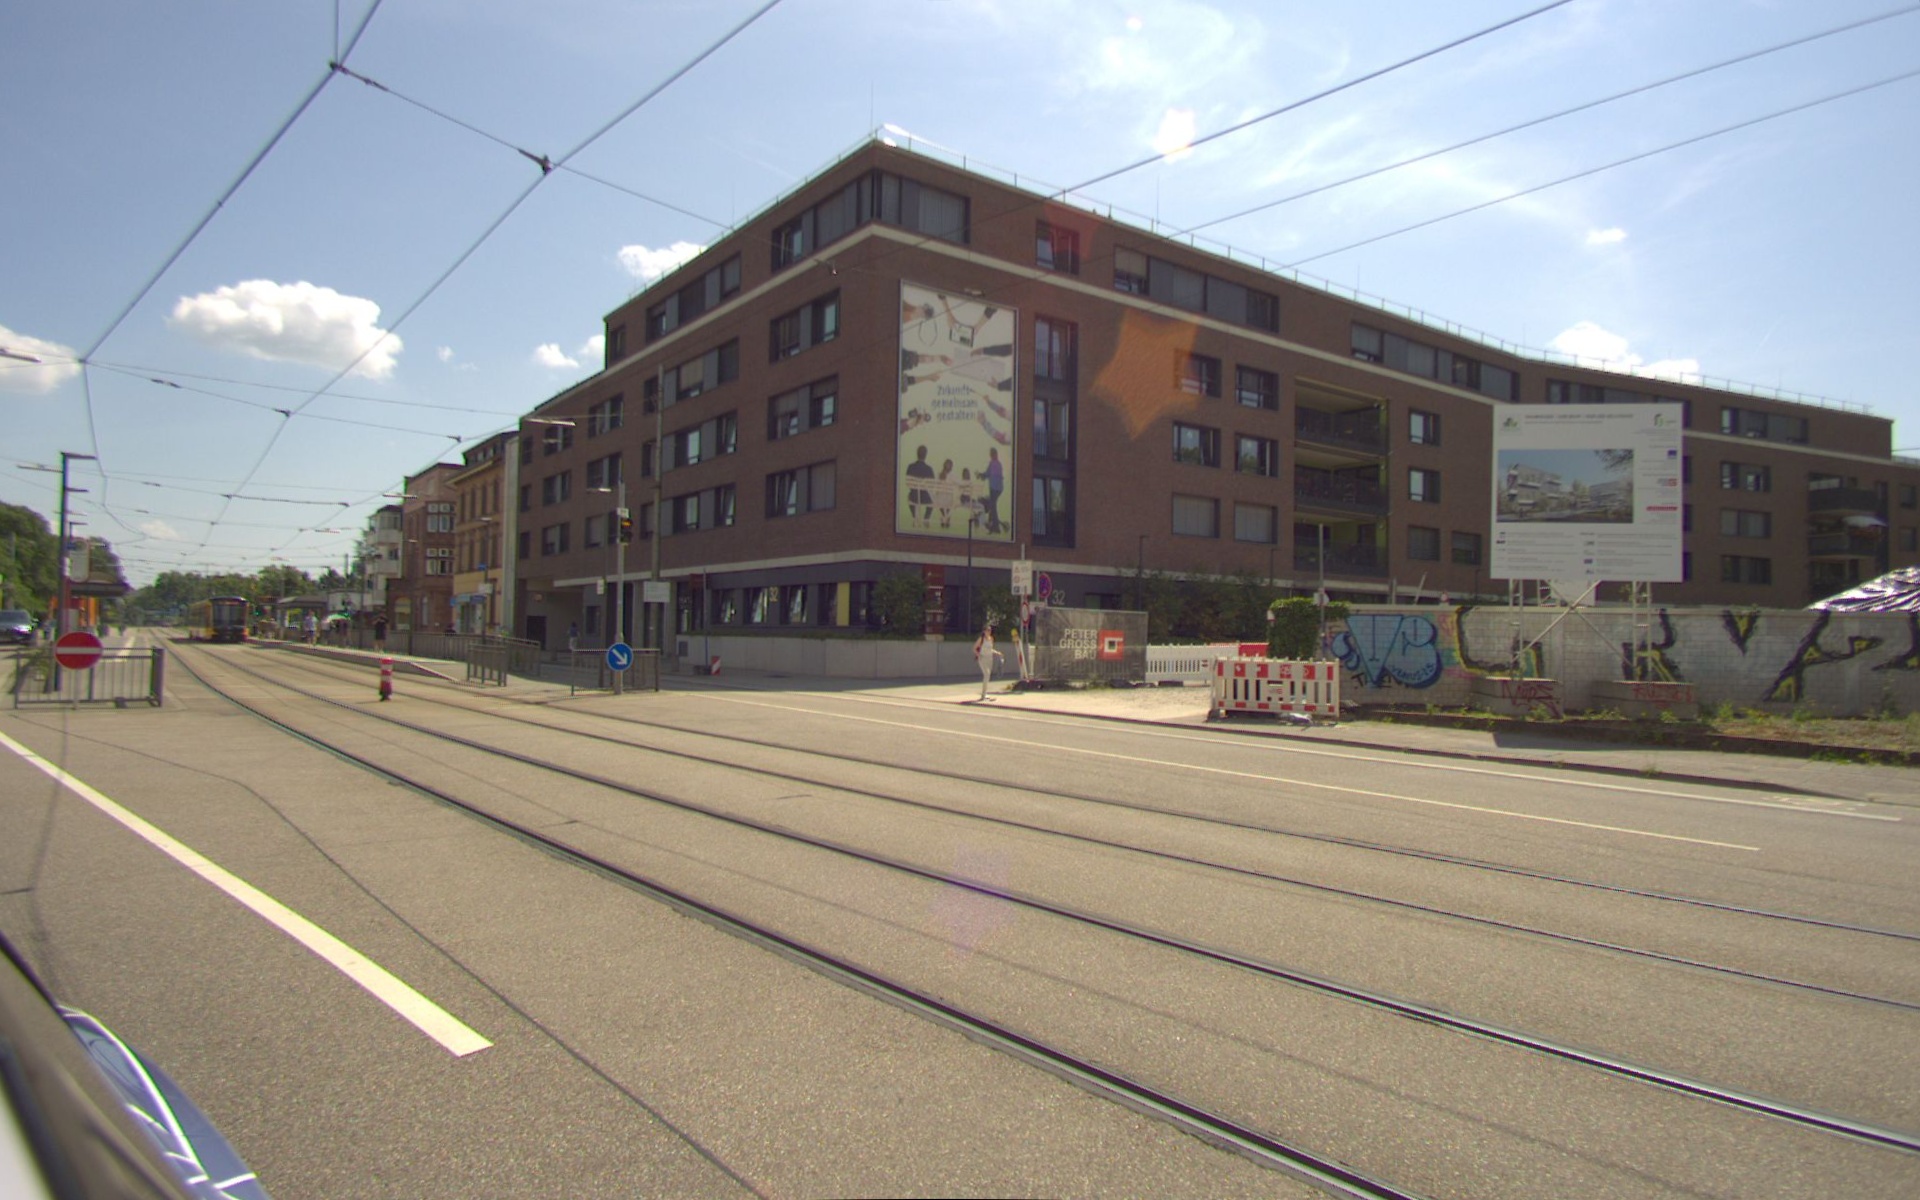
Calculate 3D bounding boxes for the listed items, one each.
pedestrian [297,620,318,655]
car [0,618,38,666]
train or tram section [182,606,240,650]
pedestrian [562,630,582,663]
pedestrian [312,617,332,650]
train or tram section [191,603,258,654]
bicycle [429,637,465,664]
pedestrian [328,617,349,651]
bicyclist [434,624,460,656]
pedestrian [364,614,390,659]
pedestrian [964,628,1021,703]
[{"bbox_3d":[-34.171,1.981,53.020,0.750,1.813,0.953,4,-4,-40],"label":"pedestrian"},{"bbox_3d":[-42.130,1.810,44.561,1.968,2.029,4.007,3,-3,-39],"label":"car"},{"bbox_3d":[-68.591,2.545,92.384,3.209,3.594,20.537,3,-3,-39],"label":"train or tram section"},{"bbox_3d":[-19.619,2.342,51.167,0.677,1.608,0.762,4,-4,-40],"label":"pedestrian"},{"bbox_3d":[-33.609,1.747,53.305,0.750,1.708,0.810,4,-4,-40],"label":"pedestrian"},{"bbox_3d":[-56.991,2.176,78.163,3.194,3.594,16.378,3,-3,-39],"label":"train or tram section"},{"bbox_3d":[-24.172,2.372,47.649,0.807,1.232,2.391,4,-4,-43],"label":"bicycle"},{"bbox_3d":[-29.684,1.638,48.362,0.677,1.608,0.762,4,-4,-40],"label":"pedestrian"},{"bbox_3d":[-24.172,1.889,47.688,1.066,1.516,0.749,-1,-3,45],"label":"bicyclist"},{"bbox_3d":[-23.666,1.486,41.077,0.677,1.773,1.035,4,-4,-40],"label":"pedestrian"},{"bbox_3d":[0.722,1.451,22.716,0.751,1.608,1.001,-2,0,-44],"label":"pedestrian"}]
